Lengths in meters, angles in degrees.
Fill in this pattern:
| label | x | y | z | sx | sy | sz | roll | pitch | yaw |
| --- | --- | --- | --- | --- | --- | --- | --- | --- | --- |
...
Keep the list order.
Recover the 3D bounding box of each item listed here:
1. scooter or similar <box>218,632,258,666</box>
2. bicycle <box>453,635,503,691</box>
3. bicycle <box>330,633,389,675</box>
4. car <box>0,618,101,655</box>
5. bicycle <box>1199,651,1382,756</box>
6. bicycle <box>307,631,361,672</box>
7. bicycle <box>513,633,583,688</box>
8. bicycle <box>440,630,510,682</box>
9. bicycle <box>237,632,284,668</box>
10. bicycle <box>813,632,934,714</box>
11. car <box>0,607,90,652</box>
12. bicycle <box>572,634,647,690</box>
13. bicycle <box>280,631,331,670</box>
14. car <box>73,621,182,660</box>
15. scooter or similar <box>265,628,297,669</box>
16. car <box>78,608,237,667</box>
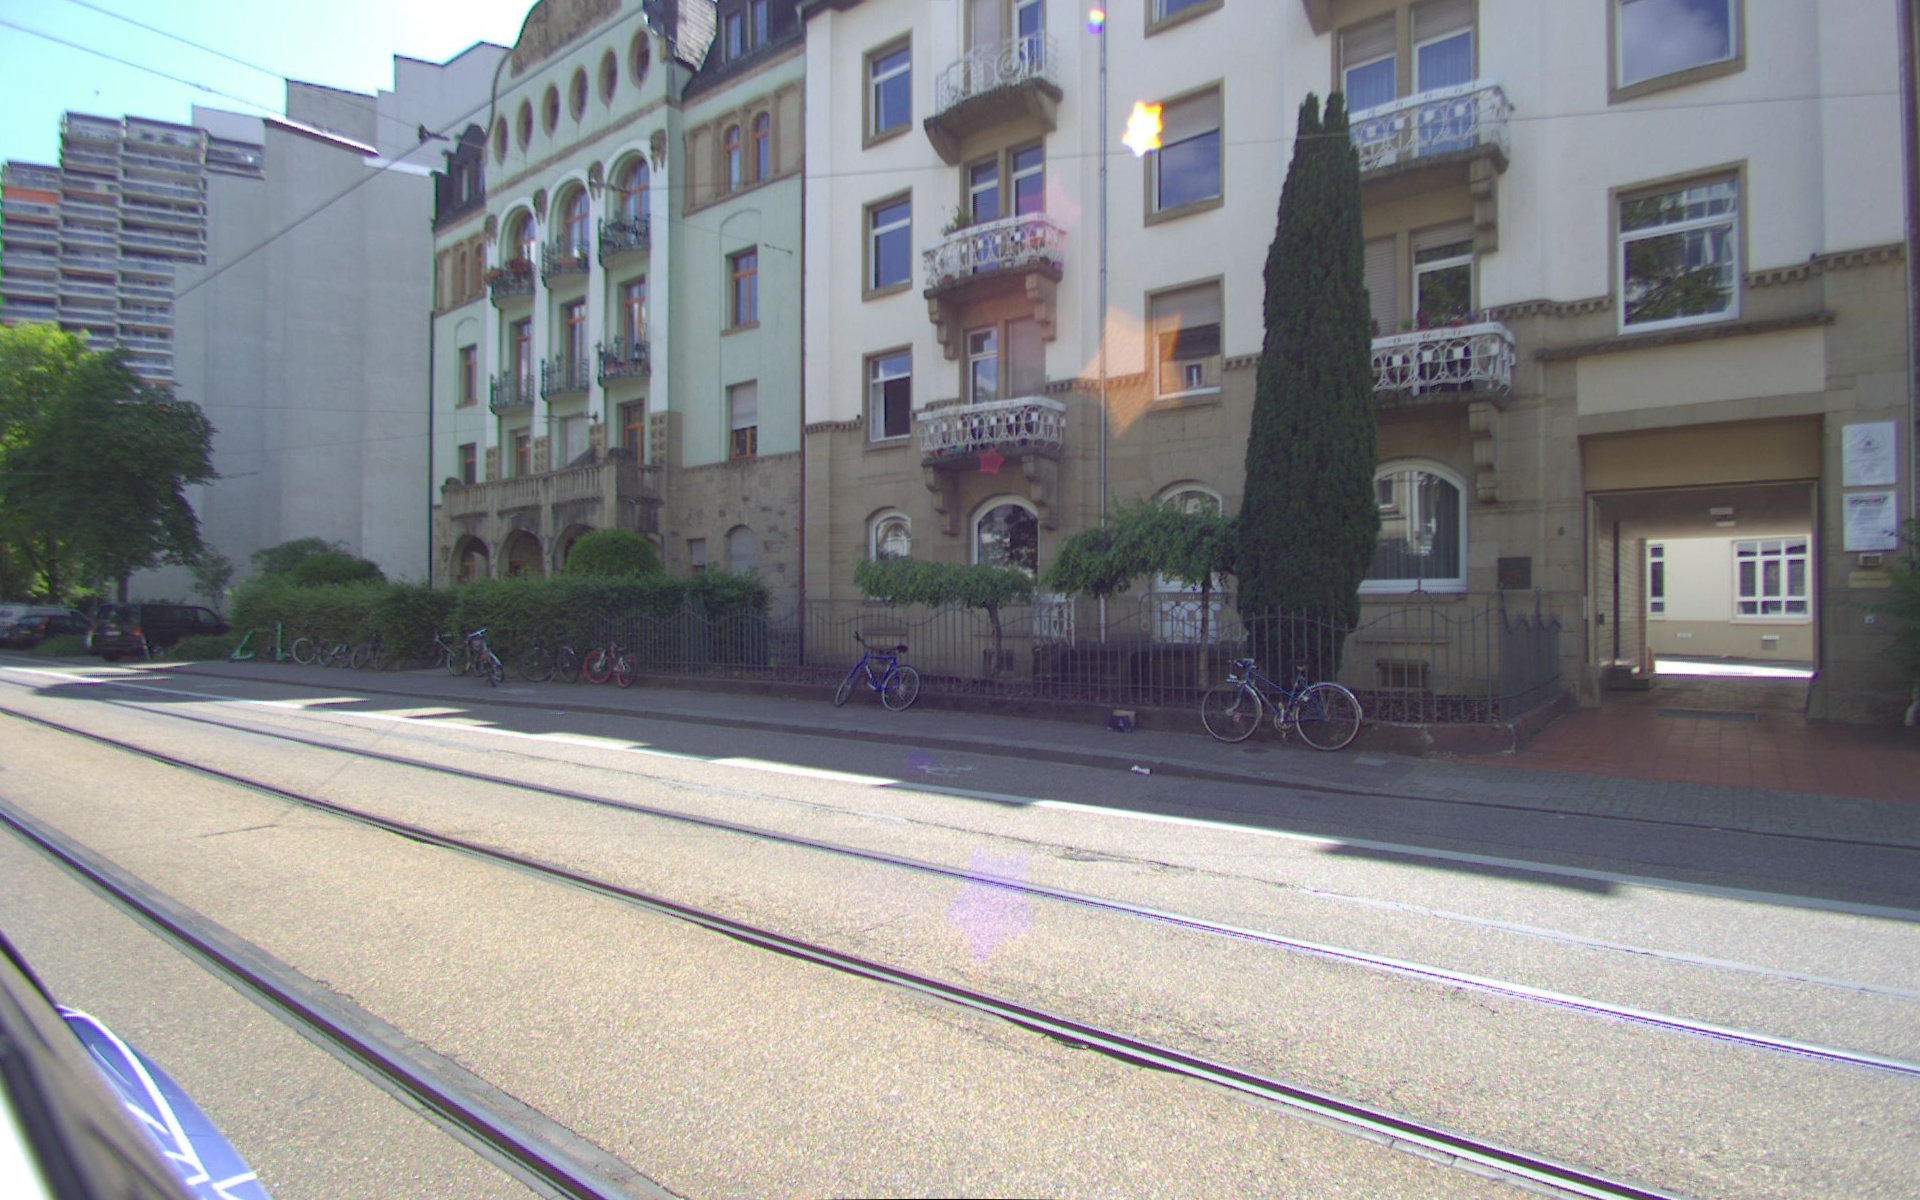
| label | x | y | z | sx | sy | sz | roll | pitch | yaw |
| --- | --- | --- | --- | --- | --- | --- | --- | --- | --- |
| scooter or similar | -21.978 | 1.488 | 30.813 | 1.216 | 1.028 | 0.404 | -1 | -2 | 23 |
| bicycle | -9.368 | 1.199 | 19.712 | 0.599 | 1.007 | 1.780 | 0 | -1 | -17 |
| bicycle | -15.007 | 1.330 | 25.280 | 1.769 | 0.983 | 0.602 | -1 | 2 | 38 |
| car | -40.909 | 1.633 | 45.505 | 1.657 | 1.587 | 3.688 | 1 | -1 | -5 |
| bicycle | 3.520 | 1.077 | 10.895 | 1.839 | 0.968 | 0.406 | 0 | 2 | 38 |
| bicycle | -16.411 | 1.339 | 26.504 | 1.705 | 0.996 | 0.602 | -1 | 2 | 38 |
| bicycle | -8.068 | 1.162 | 19.786 | 1.705 | 1.006 | 0.460 | -1 | 2 | 38 |
| bicycle | -10.532 | 1.197 | 21.952 | 1.769 | 1.040 | 0.602 | -1 | 2 | 38 |
| bicycle | -20.612 | 1.454 | 29.824 | 1.705 | 0.996 | 0.602 | -1 | 2 | 38 |
| bicycle | -1.266 | 1.028 | 14.636 | 1.769 | 1.072 | 0.602 | -1 | 2 | 38 |
| car | -43.549 | 1.371 | 47.801 | 1.579 | 2.058 | 4.055 | 0 | -1 | -3 |
| bicycle | -6.520 | 1.132 | 18.781 | 1.723 | 0.973 | 0.409 | -1 | 2 | 38 |
| bicycle | -17.927 | 1.374 | 27.726 | 1.705 | 0.996 | 0.602 | -1 | 2 | 38 |
| car | -32.987 | 1.564 | 40.216 | 1.699 | 1.465 | 3.633 | 0 | -1 | -8 |
| scooter or similar | -19.323 | 1.360 | 28.804 | 1.290 | 1.128 | 0.401 | -1 | -1 | 40 |
| car | -28.170 | 1.296 | 35.758 | 1.935 | 1.940 | 4.585 | 0 | -1 | 1 |
